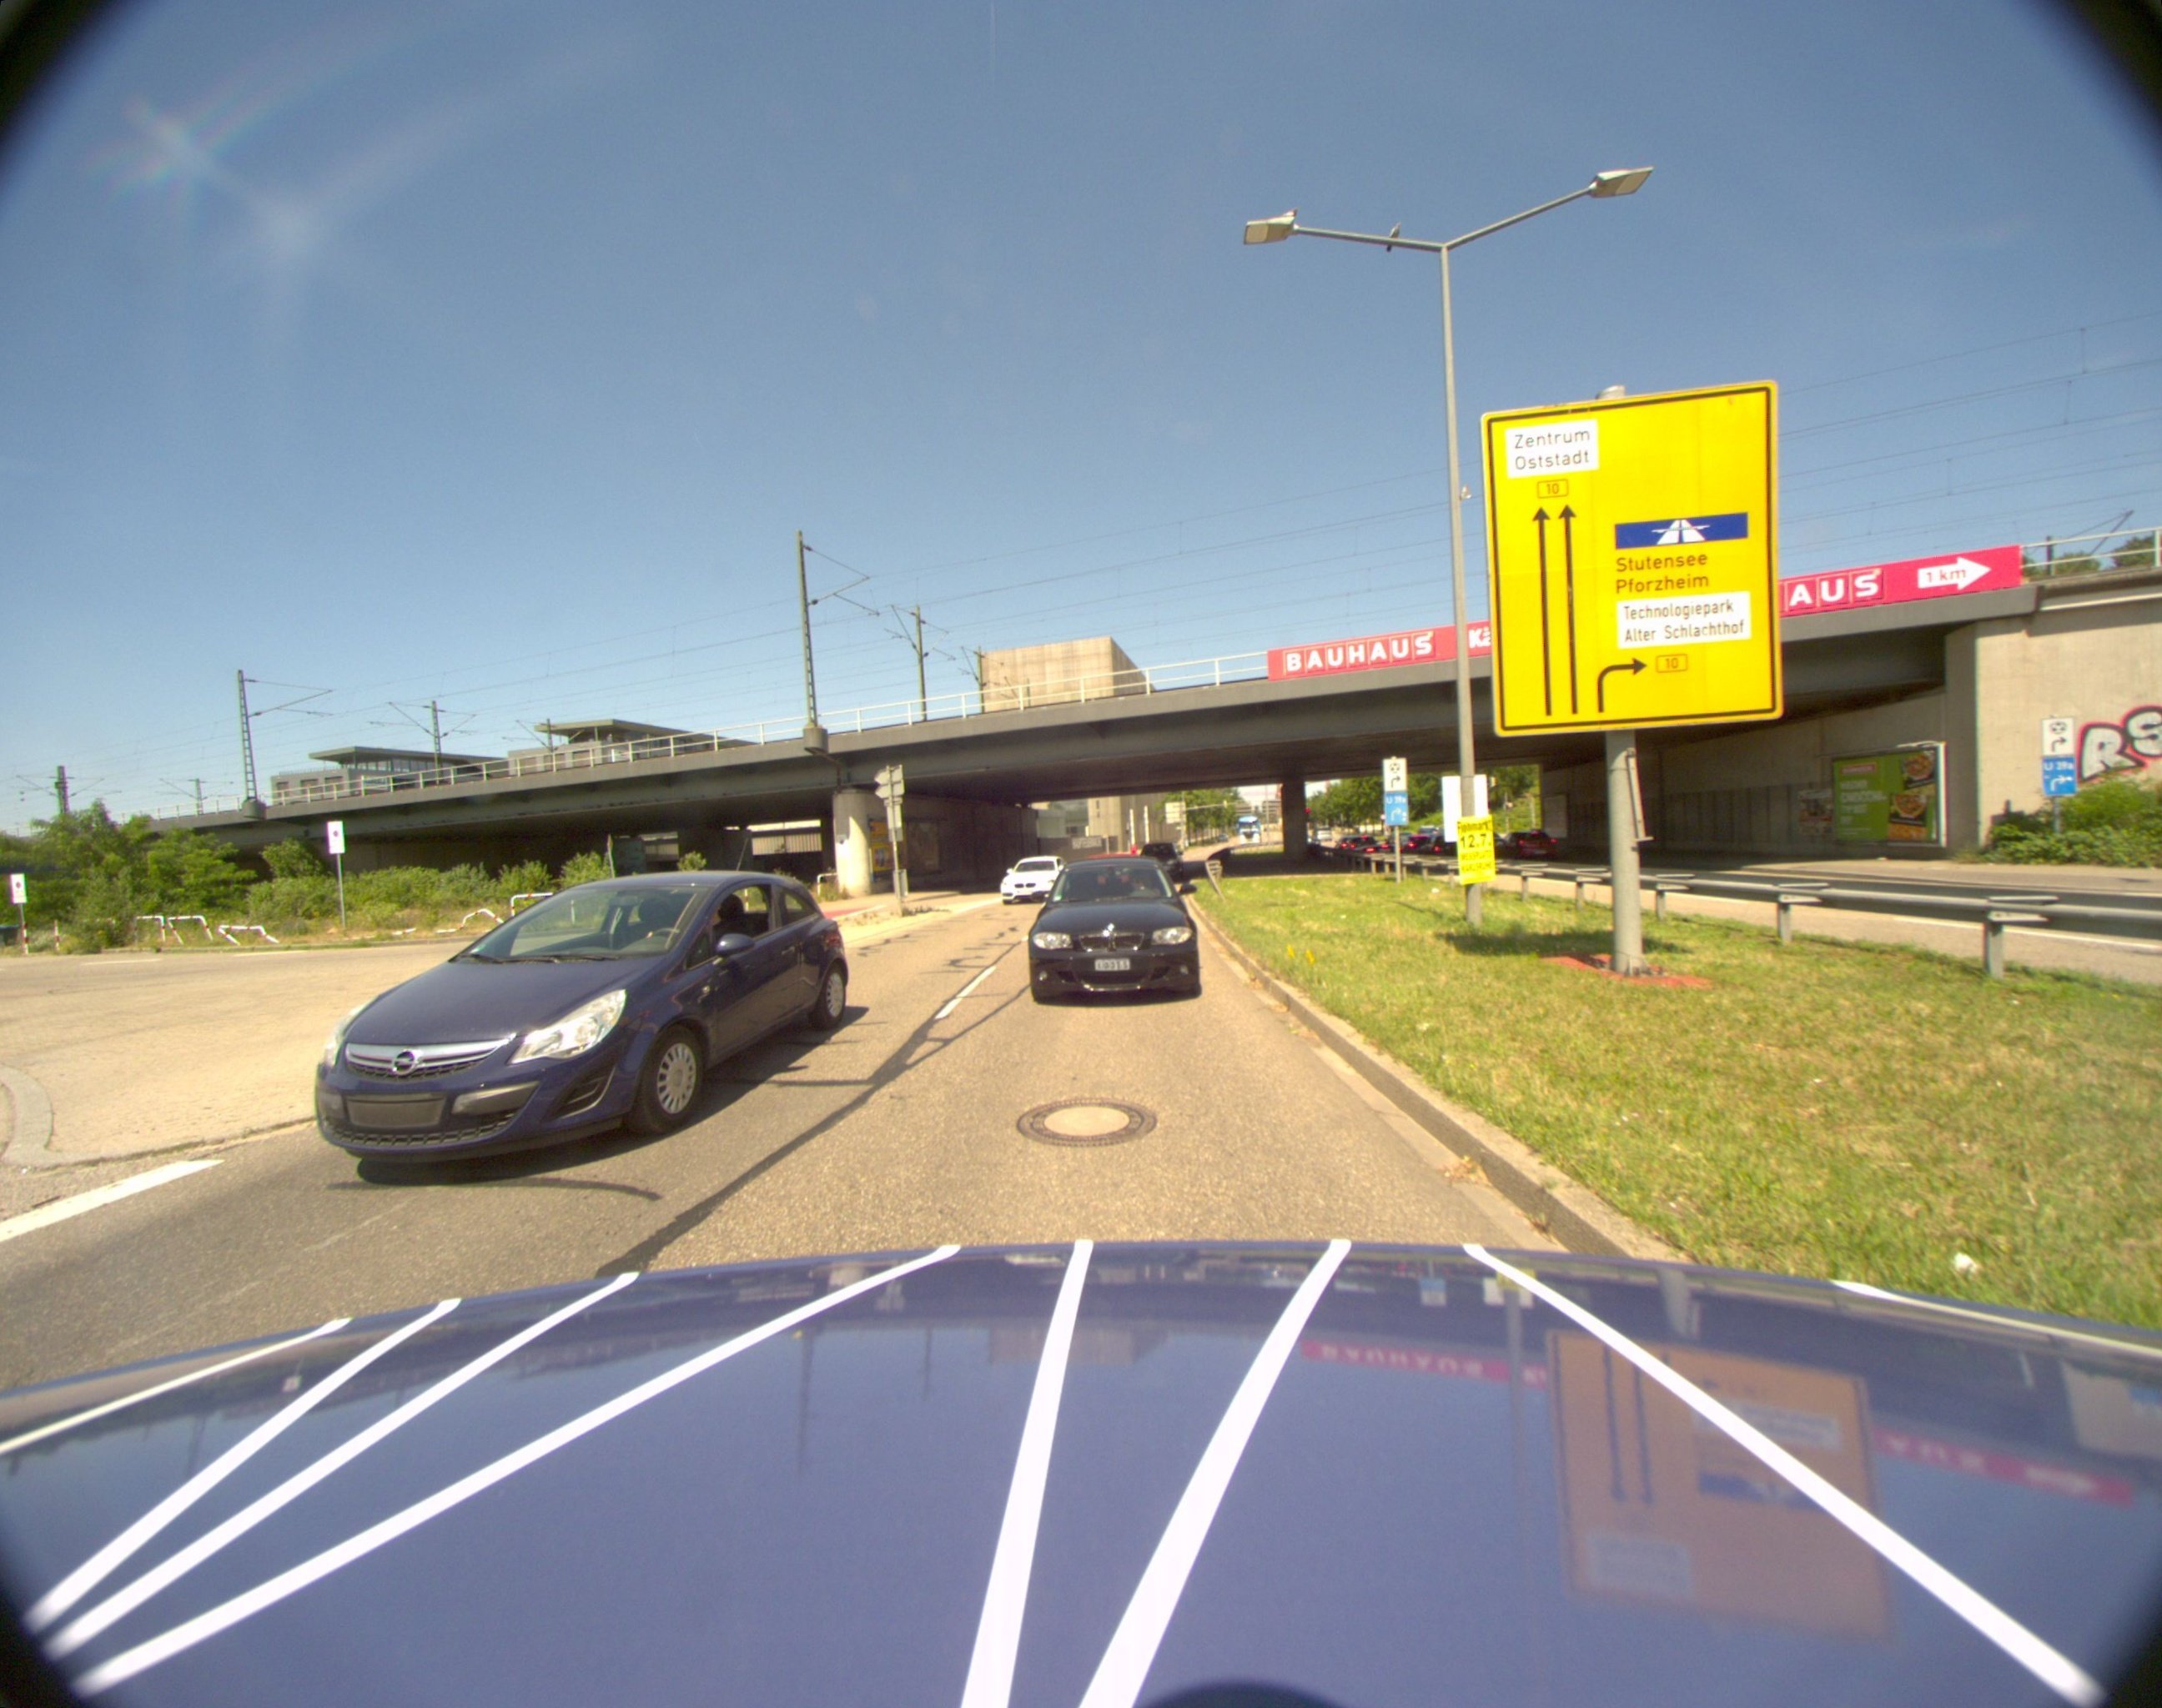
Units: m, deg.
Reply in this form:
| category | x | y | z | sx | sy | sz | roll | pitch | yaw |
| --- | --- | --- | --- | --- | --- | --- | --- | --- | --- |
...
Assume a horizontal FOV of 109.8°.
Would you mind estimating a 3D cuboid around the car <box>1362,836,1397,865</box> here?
| category | x | y | z | sx | sy | sz | roll | pitch | yaw |
| --- | --- | --- | --- | --- | --- | --- | --- | --- | --- |
| car | 14.642 | -0.202 | 37.370 | 1.410 | 1.312 | 3.265 | -2 | 1 | 19 |

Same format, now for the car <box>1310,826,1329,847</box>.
| category | x | y | z | sx | sy | sz | roll | pitch | yaw |
| --- | --- | --- | --- | --- | --- | --- | --- | --- | --- |
| car | 23.812 | -1.771 | 75.927 | 1.676 | 2.002 | 4.004 | -2 | 1 | 17 |

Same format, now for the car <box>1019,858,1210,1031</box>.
| category | x | y | z | sx | sy | sz | roll | pitch | yaw |
| --- | --- | --- | --- | --- | --- | --- | --- | --- | --- |
| car | 0.264 | 0.838 | 8.949 | 1.682 | 1.409 | 4.055 | -3 | 1 | -1 |

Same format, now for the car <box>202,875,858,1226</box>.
| category | x | y | z | sx | sy | sz | roll | pitch | yaw |
| --- | --- | --- | --- | --- | --- | --- | --- | --- | --- |
| car | -3.106 | 0.965 | 5.423 | 1.650 | 1.436 | 3.891 | -3 | 0 | 3 |

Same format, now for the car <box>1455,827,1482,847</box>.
| category | x | y | z | sx | sy | sz | roll | pitch | yaw |
| --- | --- | --- | --- | --- | --- | --- | --- | --- | --- |
| car | 24.874 | -1.102 | 48.769 | 1.184 | 1.241 | 2.695 | -2 | 1 | 20 |

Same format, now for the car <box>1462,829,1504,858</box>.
| category | x | y | z | sx | sy | sz | roll | pitch | yaw |
| --- | --- | --- | --- | --- | --- | --- | --- | --- | --- |
| car | 22.152 | -0.616 | 41.962 | 1.571 | 1.494 | 3.411 | -2 | 1 | 20 |

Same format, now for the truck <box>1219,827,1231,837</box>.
| category | x | y | z | sx | sy | sz | roll | pitch | yaw |
| --- | --- | --- | --- | --- | --- | --- | --- | --- | --- |
| truck | 24.924 | -3.804 | 131.679 | 1.729 | 1.493 | 4.003 | -2 | 1 | 15 |

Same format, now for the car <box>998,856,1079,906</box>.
| category | x | y | z | sx | sy | sz | roll | pitch | yaw |
| --- | --- | --- | --- | --- | --- | --- | --- | --- | --- |
| car | -1.302 | 0.827 | 25.006 | 1.761 | 1.435 | 4.055 | -1 | 0 | 9 |

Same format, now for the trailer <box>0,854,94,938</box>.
| category | x | y | z | sx | sy | sz | roll | pitch | yaw |
| --- | --- | --- | --- | --- | --- | --- | --- | --- | --- |
| trailer | -53.590 | 2.100 | 36.178 | 2.582 | 4.101 | 10.032 | -3 | 1 | -17 |

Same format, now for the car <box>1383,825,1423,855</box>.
| category | x | y | z | sx | sy | sz | roll | pitch | yaw |
| --- | --- | --- | --- | --- | --- | --- | --- | --- | --- |
| car | 21.189 | -0.939 | 50.079 | 1.905 | 1.849 | 4.004 | -2 | 1 | 16 |

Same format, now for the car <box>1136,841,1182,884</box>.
| category | x | y | z | sx | sy | sz | roll | pitch | yaw |
| --- | --- | --- | --- | --- | --- | --- | --- | --- | --- |
| car | 3.482 | 0.319 | 33.555 | 1.845 | 1.686 | 3.701 | -2 | 1 | 7 |

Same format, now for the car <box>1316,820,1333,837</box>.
| category | x | y | z | sx | sy | sz | roll | pitch | yaw |
| --- | --- | --- | --- | --- | --- | --- | --- | --- | --- |
| car | 30.834 | -3.201 | 96.276 | 1.996 | 2.002 | 4.004 | -2 | 1 | 17 |

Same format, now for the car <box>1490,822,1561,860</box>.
| category | x | y | z | sx | sy | sz | roll | pitch | yaw |
| --- | --- | --- | --- | --- | --- | --- | --- | --- | --- |
| car | 21.125 | -0.640 | 36.282 | 1.774 | 1.658 | 4.018 | -2 | 1 | 14 |

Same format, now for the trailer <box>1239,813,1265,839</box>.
| category | x | y | z | sx | sy | sz | roll | pitch | yaw |
| --- | --- | --- | --- | --- | --- | --- | --- | --- | --- |
| trailer | 24.086 | -3.899 | 106.667 | 2.960 | 3.354 | 13.906 | -2 | 1 | 15 |

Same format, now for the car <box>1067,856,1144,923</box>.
| category | x | y | z | sx | sy | sz | roll | pitch | yaw |
| --- | --- | --- | --- | --- | --- | --- | --- | --- | --- |
| car | 0.680 | 0.776 | 18.539 | 1.646 | 1.391 | 4.053 | -1 | 0 | 4 |

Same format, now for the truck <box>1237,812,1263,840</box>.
| category | x | y | z | sx | sy | sz | roll | pitch | yaw |
| --- | --- | --- | --- | --- | --- | --- | --- | --- | --- |
| truck | 22.330 | -3.695 | 100.129 | 3.017 | 3.398 | 6.572 | -2 | 1 | 15 |

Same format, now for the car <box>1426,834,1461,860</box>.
| category | x | y | z | sx | sy | sz | roll | pitch | yaw |
| --- | --- | --- | --- | --- | --- | --- | --- | --- | --- |
| car | 17.897 | -0.373 | 37.561 | 1.269 | 1.178 | 2.781 | -2 | 1 | 20 |

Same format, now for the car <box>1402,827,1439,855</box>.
| category | x | y | z | sx | sy | sz | roll | pitch | yaw |
| --- | --- | --- | --- | --- | --- | --- | --- | --- | --- |
| car | 19.307 | -0.764 | 43.282 | 1.617 | 1.468 | 3.437 | -2 | 1 | 20 |
